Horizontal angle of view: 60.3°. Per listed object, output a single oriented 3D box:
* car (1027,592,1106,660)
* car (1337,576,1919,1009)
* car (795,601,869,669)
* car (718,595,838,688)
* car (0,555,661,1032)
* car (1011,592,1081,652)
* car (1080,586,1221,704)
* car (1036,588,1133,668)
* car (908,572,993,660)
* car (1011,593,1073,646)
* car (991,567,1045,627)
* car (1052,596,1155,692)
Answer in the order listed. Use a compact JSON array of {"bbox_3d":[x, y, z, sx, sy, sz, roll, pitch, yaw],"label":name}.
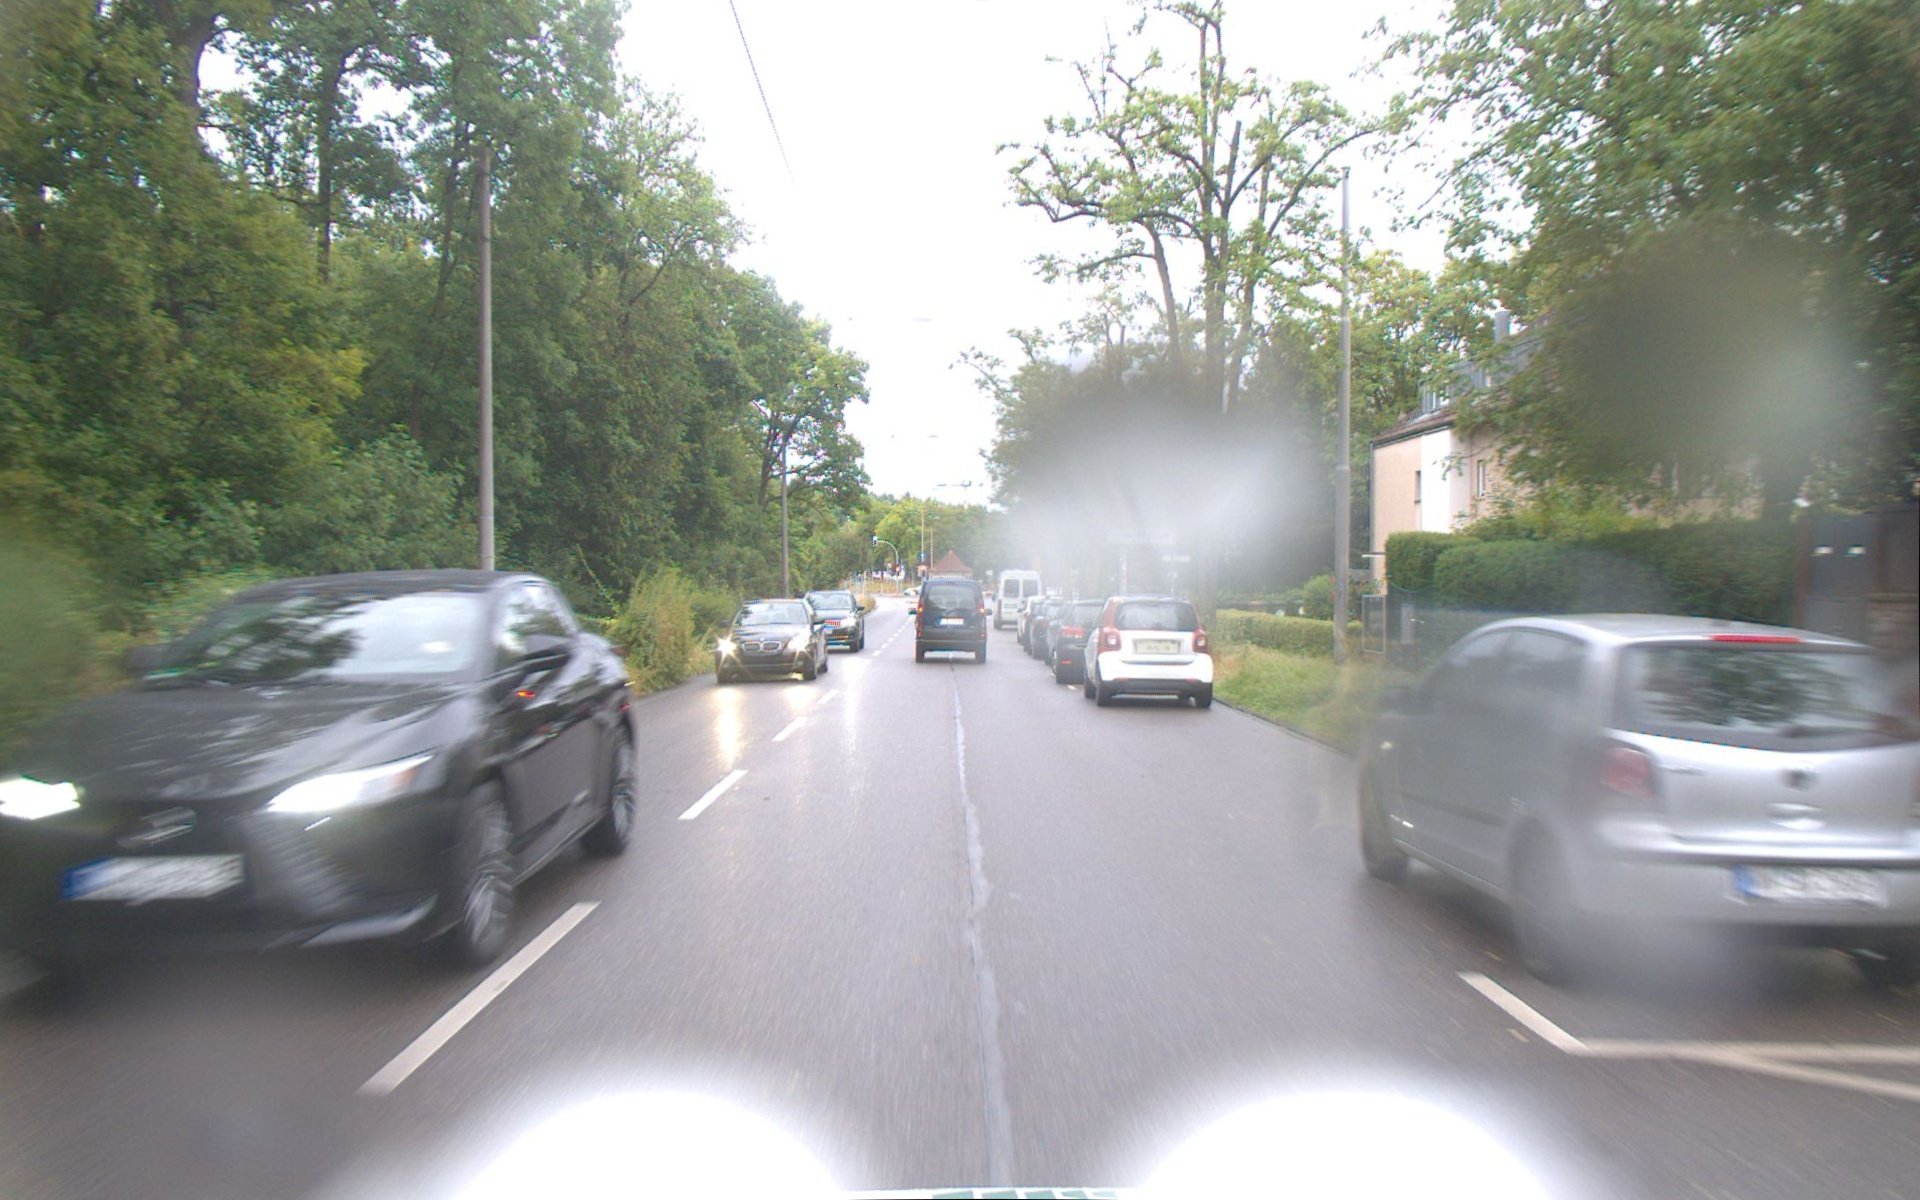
[{"bbox_3d":[2.600,0.599,41.148,1.663,1.551,4.211,1,1,0],"label":"car"},{"bbox_3d":[3.121,0.685,7.968,1.585,1.534,3.833,1,1,-2],"label":"car"},{"bbox_3d":[-3.438,0.902,45.066,1.688,1.644,4.155,-1,1,0],"label":"car"},{"bbox_3d":[-3.331,0.706,31.105,1.693,1.468,5.112,-1,1,-1],"label":"car"},{"bbox_3d":[-2.716,0.618,7.841,1.767,1.574,4.432,-2,1,0],"label":"car"},{"bbox_3d":[2.395,0.586,46.681,1.663,1.551,3.867,1,1,-1],"label":"car"},{"bbox_3d":[2.700,0.606,23.998,1.600,1.536,2.957,1,1,-2],"label":"car"},{"bbox_3d":[2.602,0.544,35.234,1.663,1.551,3.867,1,1,-1],"label":"car"},{"bbox_3d":[-0.256,0.313,37.807,1.732,1.862,3.540,1,1,-3],"label":"car"},{"bbox_3d":[2.585,0.590,52.965,1.663,1.551,3.867,1,1,-1],"label":"car"},{"bbox_3d":[2.461,-0.123,71.483,2.160,2.492,4.729,0,0,0],"label":"car"},{"bbox_3d":[2.576,0.754,30.401,1.662,1.551,3.869,1,1,2],"label":"car"}]
